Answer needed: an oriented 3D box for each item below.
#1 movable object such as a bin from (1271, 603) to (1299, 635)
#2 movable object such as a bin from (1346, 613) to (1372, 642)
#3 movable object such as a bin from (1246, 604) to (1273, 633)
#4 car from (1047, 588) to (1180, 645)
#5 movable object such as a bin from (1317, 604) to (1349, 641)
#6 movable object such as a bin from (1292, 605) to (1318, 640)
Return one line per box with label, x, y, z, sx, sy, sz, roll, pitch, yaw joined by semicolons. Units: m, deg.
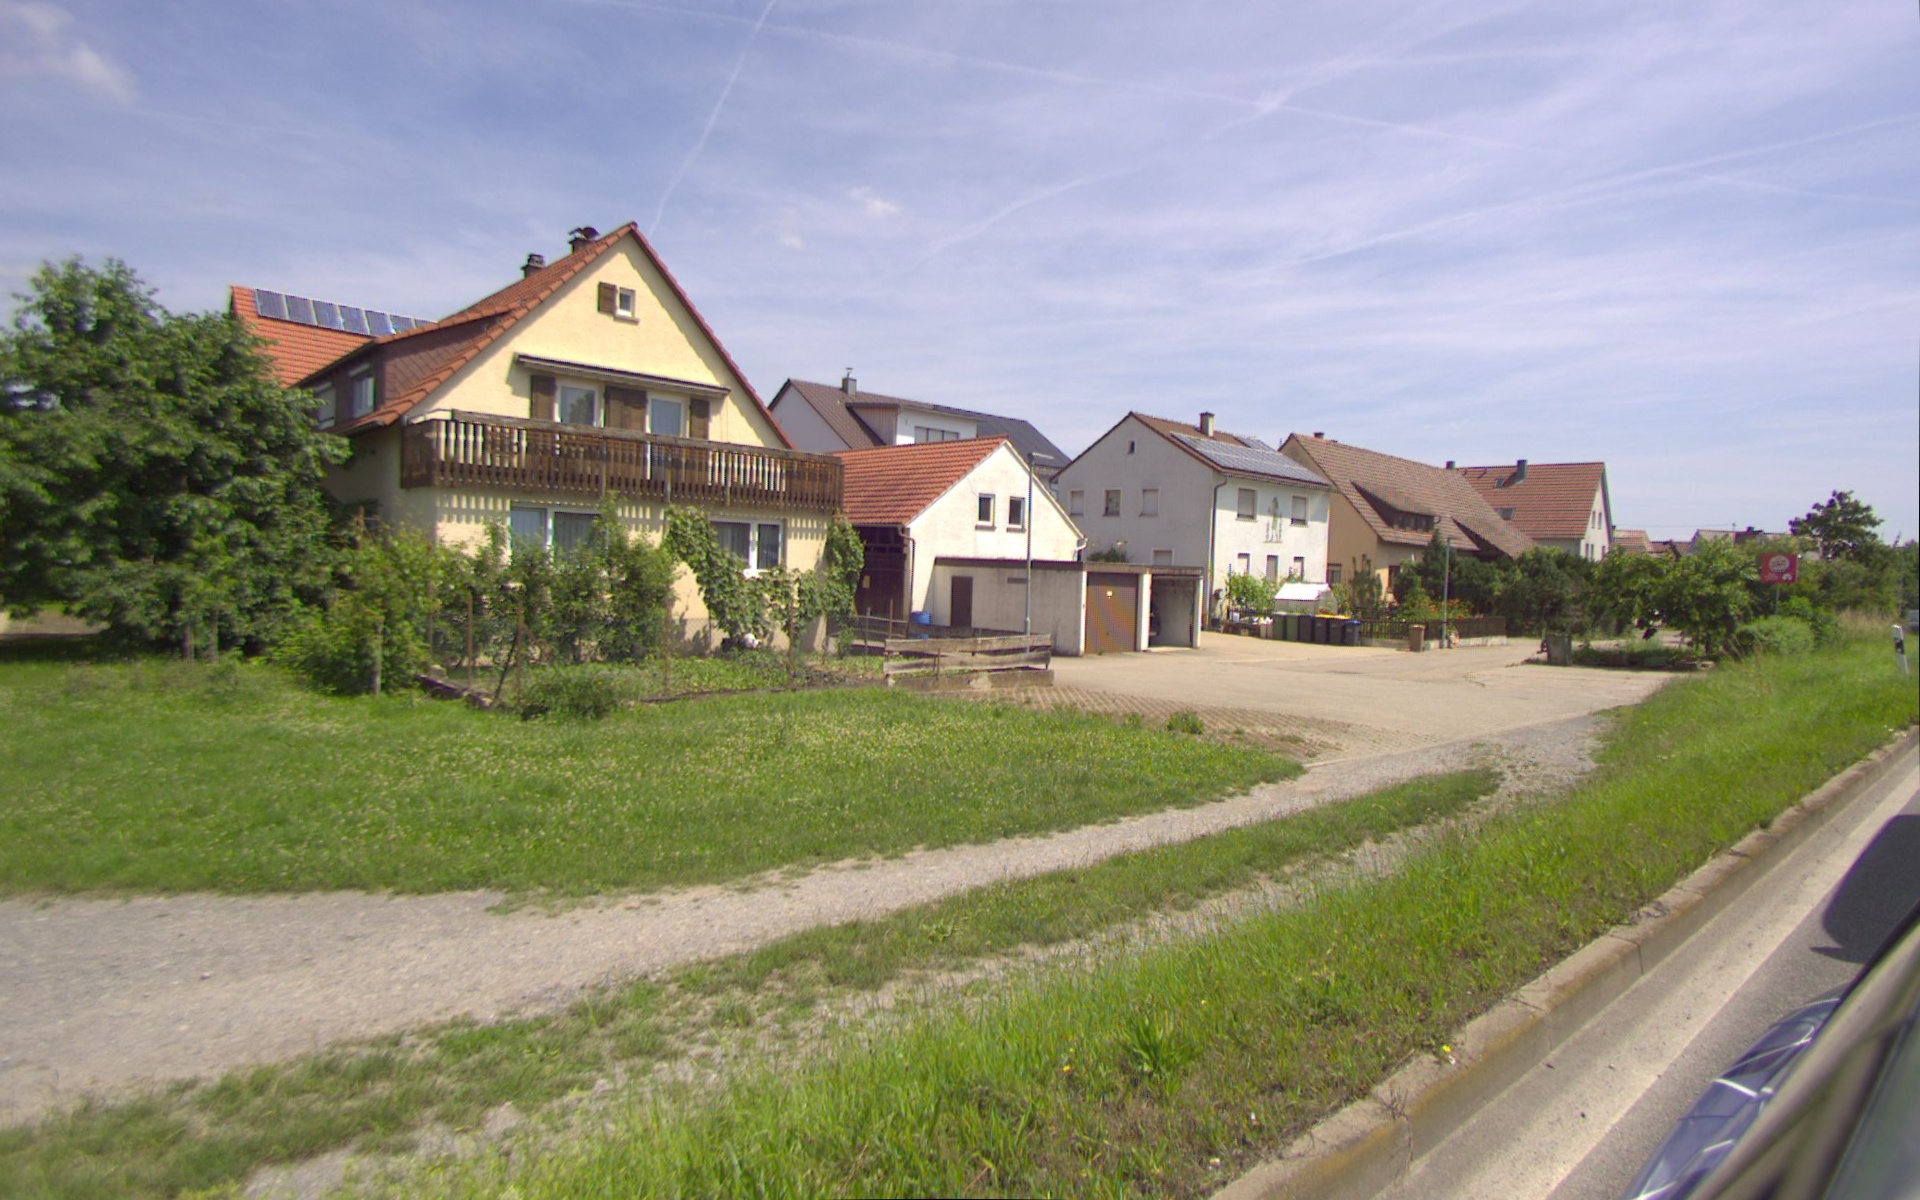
movable object such as a bin;12.973;0.742;40.363;0.874;1.262;0.744;1;0;-42
movable object such as a bin;14.894;1.026;37.759;0.743;1.040;0.645;1;0;-42
movable object such as a bin;12.115;0.733;40.891;0.816;1.171;0.739;1;0;-42
car;4.841;0.479;32.363;1.794;1.624;3.995;1;1;-40
movable object such as a bin;14.177;0.847;38.461;0.930;1.387;0.764;1;0;-42
movable object such as a bin;13.523;0.871;39.674;0.806;1.355;0.677;1;0;-42
